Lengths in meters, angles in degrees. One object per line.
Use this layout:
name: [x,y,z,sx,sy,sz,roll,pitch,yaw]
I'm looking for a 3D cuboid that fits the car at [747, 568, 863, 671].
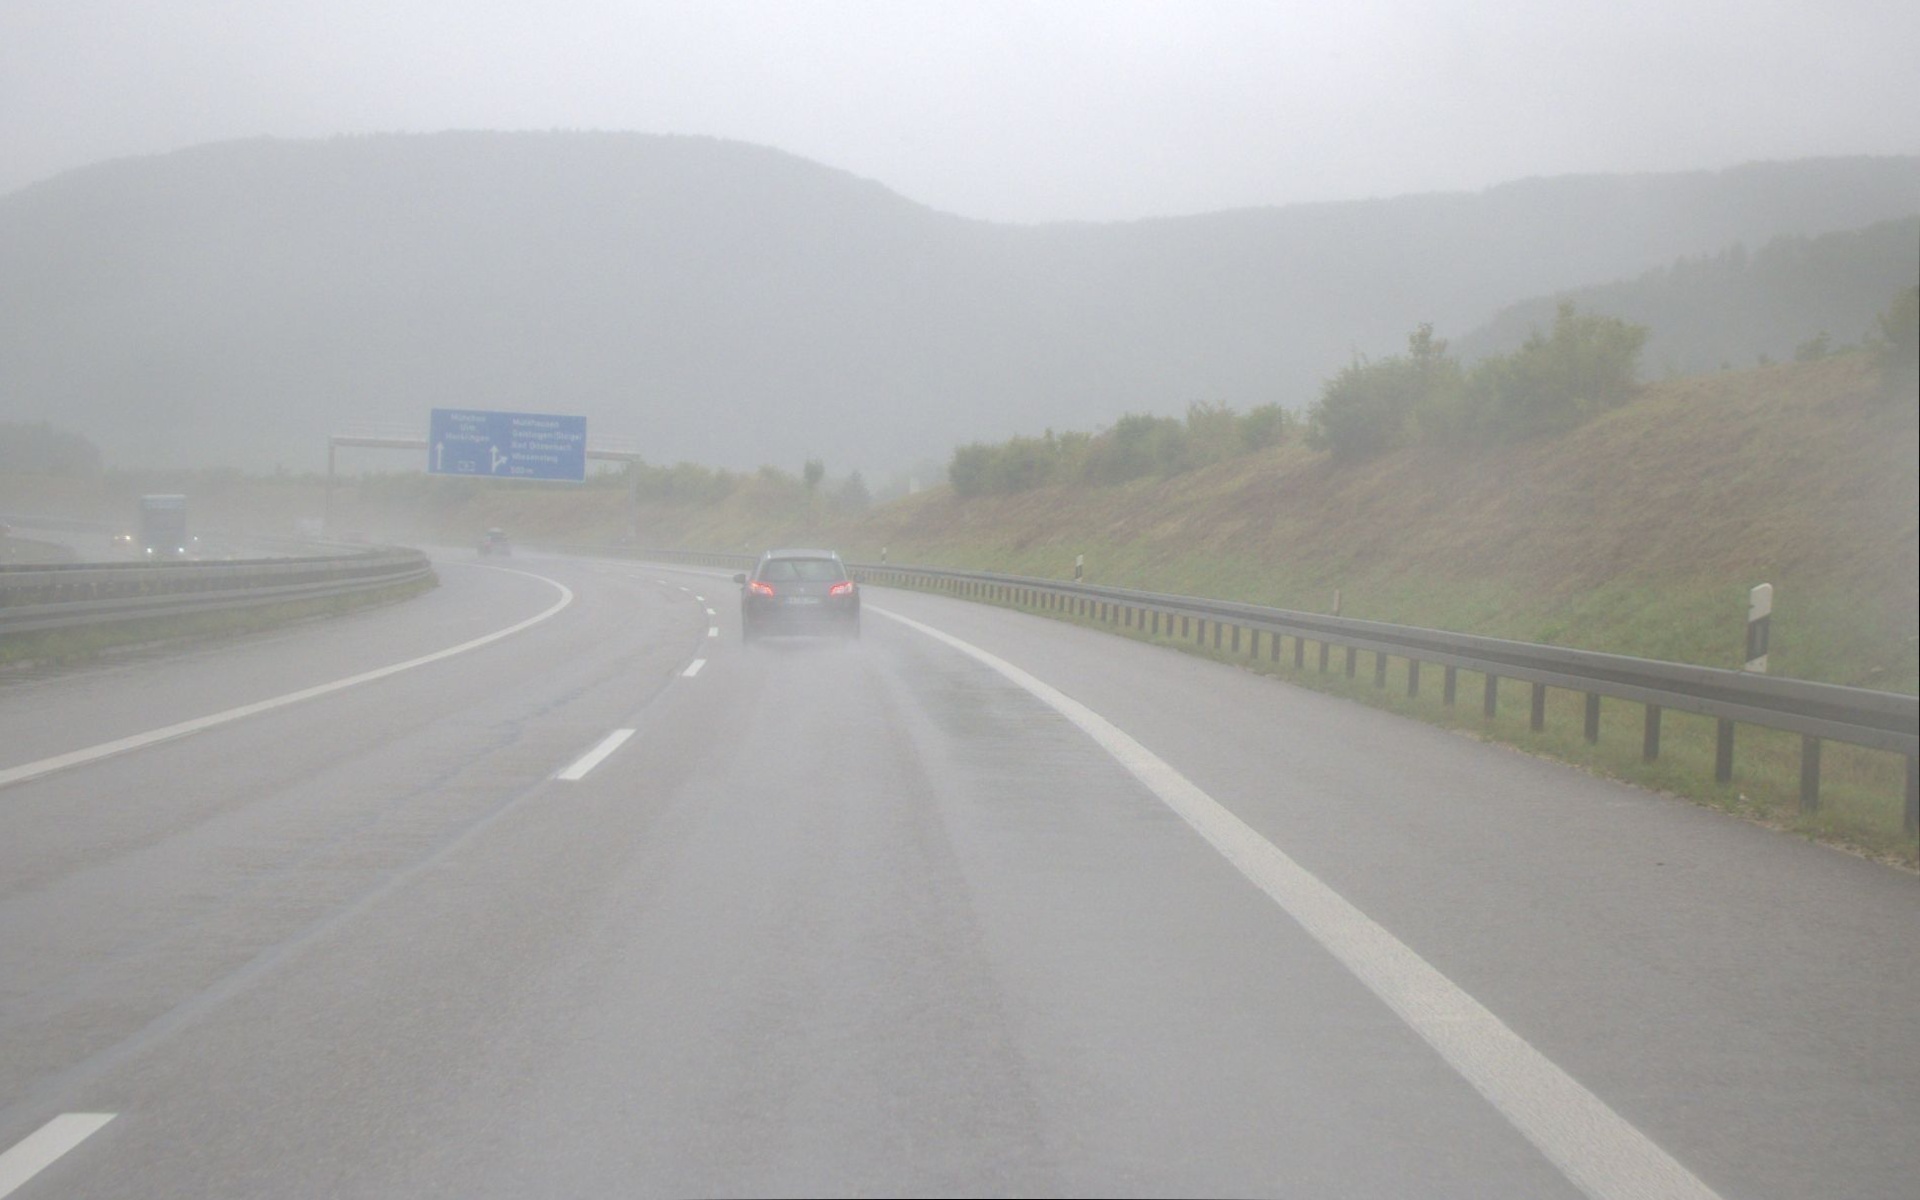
car: [-2.360,0.267,52.341,1.679,1.467,3.815,1,1,-3]
